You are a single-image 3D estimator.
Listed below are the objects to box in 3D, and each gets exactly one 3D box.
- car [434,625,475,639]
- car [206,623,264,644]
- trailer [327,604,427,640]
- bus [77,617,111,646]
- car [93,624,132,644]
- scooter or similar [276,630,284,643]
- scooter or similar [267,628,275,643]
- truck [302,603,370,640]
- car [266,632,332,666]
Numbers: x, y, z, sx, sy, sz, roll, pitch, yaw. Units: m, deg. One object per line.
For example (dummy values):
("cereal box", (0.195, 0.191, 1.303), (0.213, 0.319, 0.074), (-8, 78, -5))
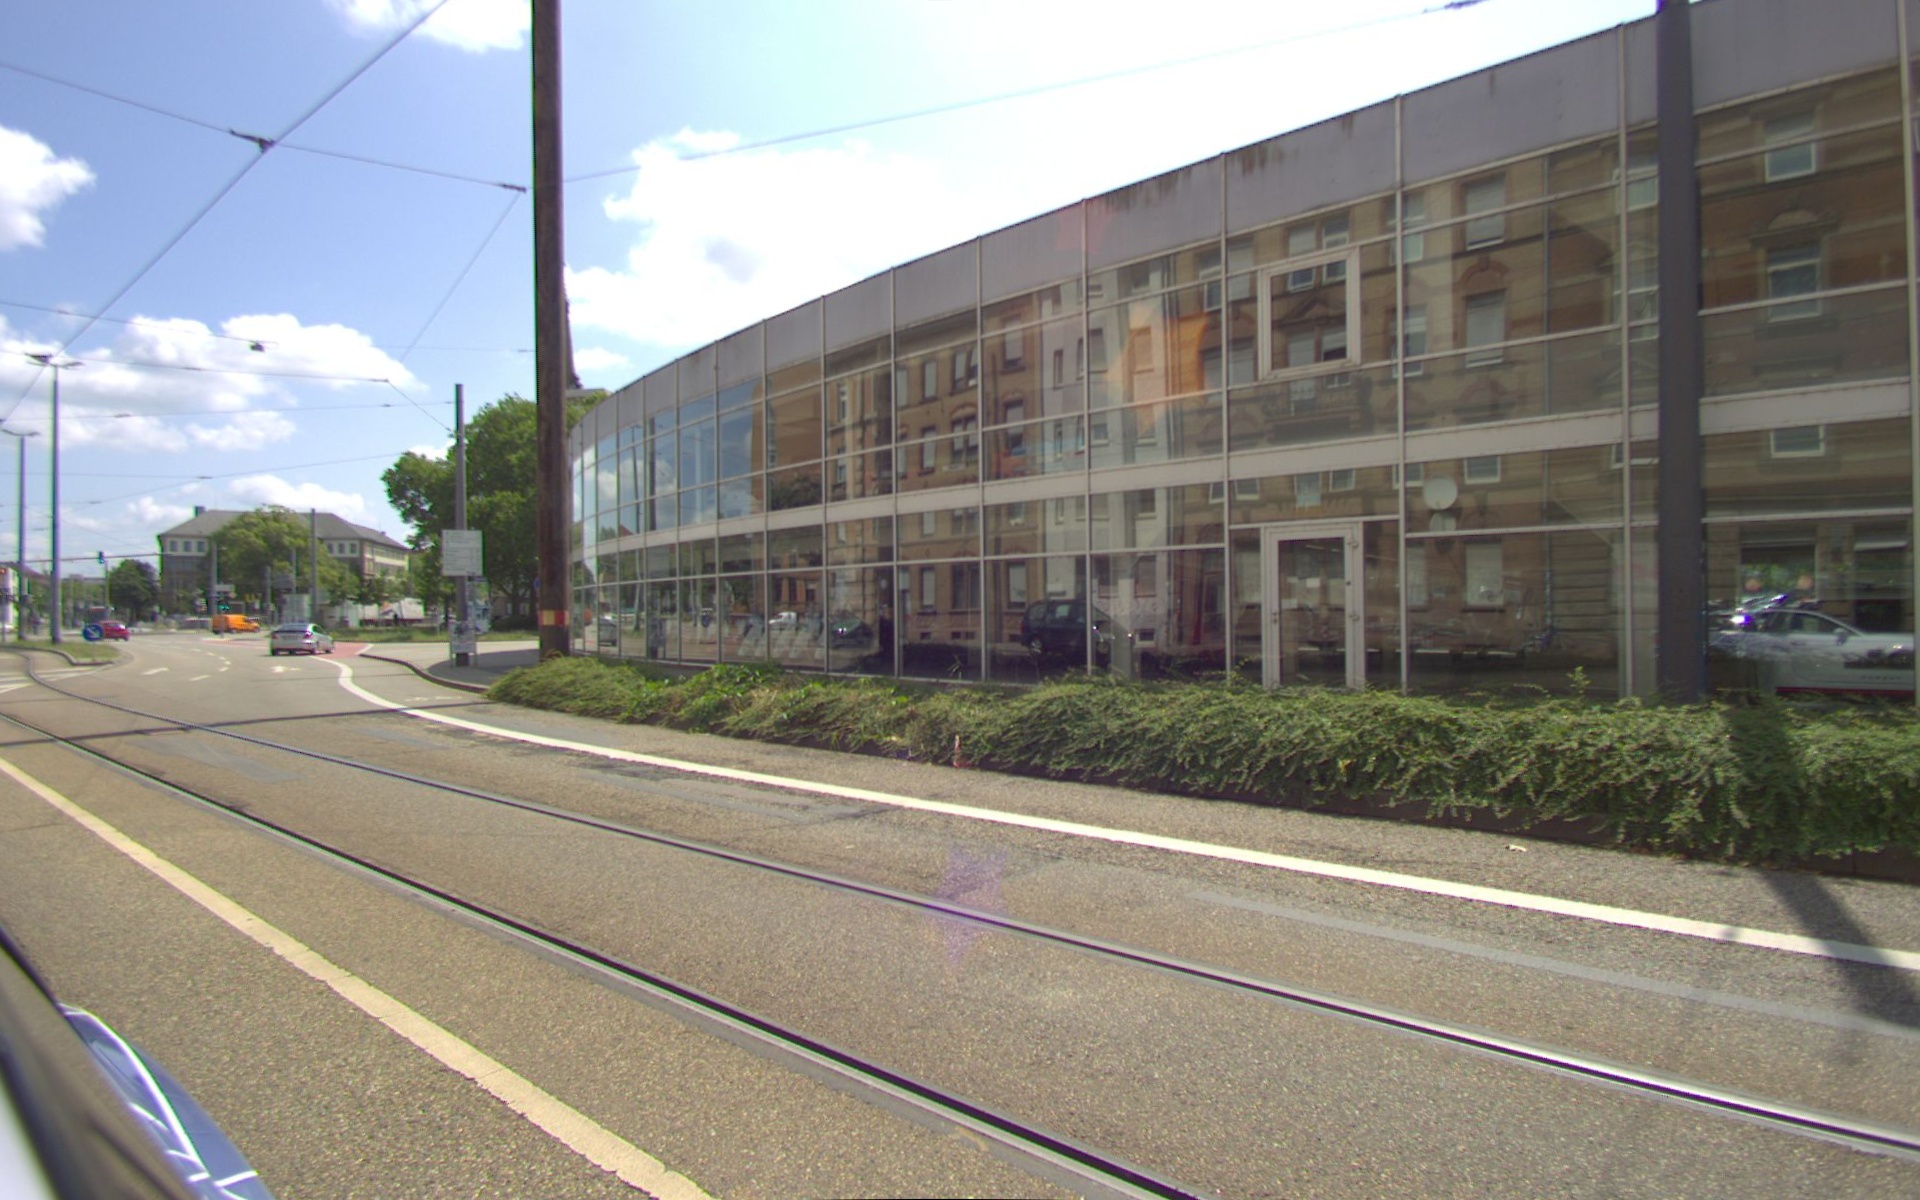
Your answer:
("car", (-59.119, 3.727, 118.332), (4.102, 1.655, 1.634), (0, -2, -32))
("car", (-67.170, 3.131, 93.859), (1.896, 1.880, 4.354), (0, -2, 9))
("trailer", (-71.460, 2.731, 124.613), (2.916, 4.107, 13.379), (-1, -1, 9))
("bus", (-107.962, 3.921, 126.264), (2.905, 3.474, 7.962), (0, -2, -38))
("car", (-62.916, 2.502, 75.125), (3.901, 1.439, 1.683), (-2, -3, 42))
("scooter or similar", (-56.684, 3.039, 84.391), (0.556, 1.133, 0.411), (-2, -2, 39))
("scooter or similar", (-56.954, 2.946, 83.672), (0.549, 1.209, 0.456), (-2, -2, 39))
("truck", (-72.545, 2.519, 117.848), (2.931, 4.150, 6.858), (-1, -1, 9))
("car", (-29.344, 2.164, 45.026), (1.789, 1.431, 4.201), (1, -2, -24))
